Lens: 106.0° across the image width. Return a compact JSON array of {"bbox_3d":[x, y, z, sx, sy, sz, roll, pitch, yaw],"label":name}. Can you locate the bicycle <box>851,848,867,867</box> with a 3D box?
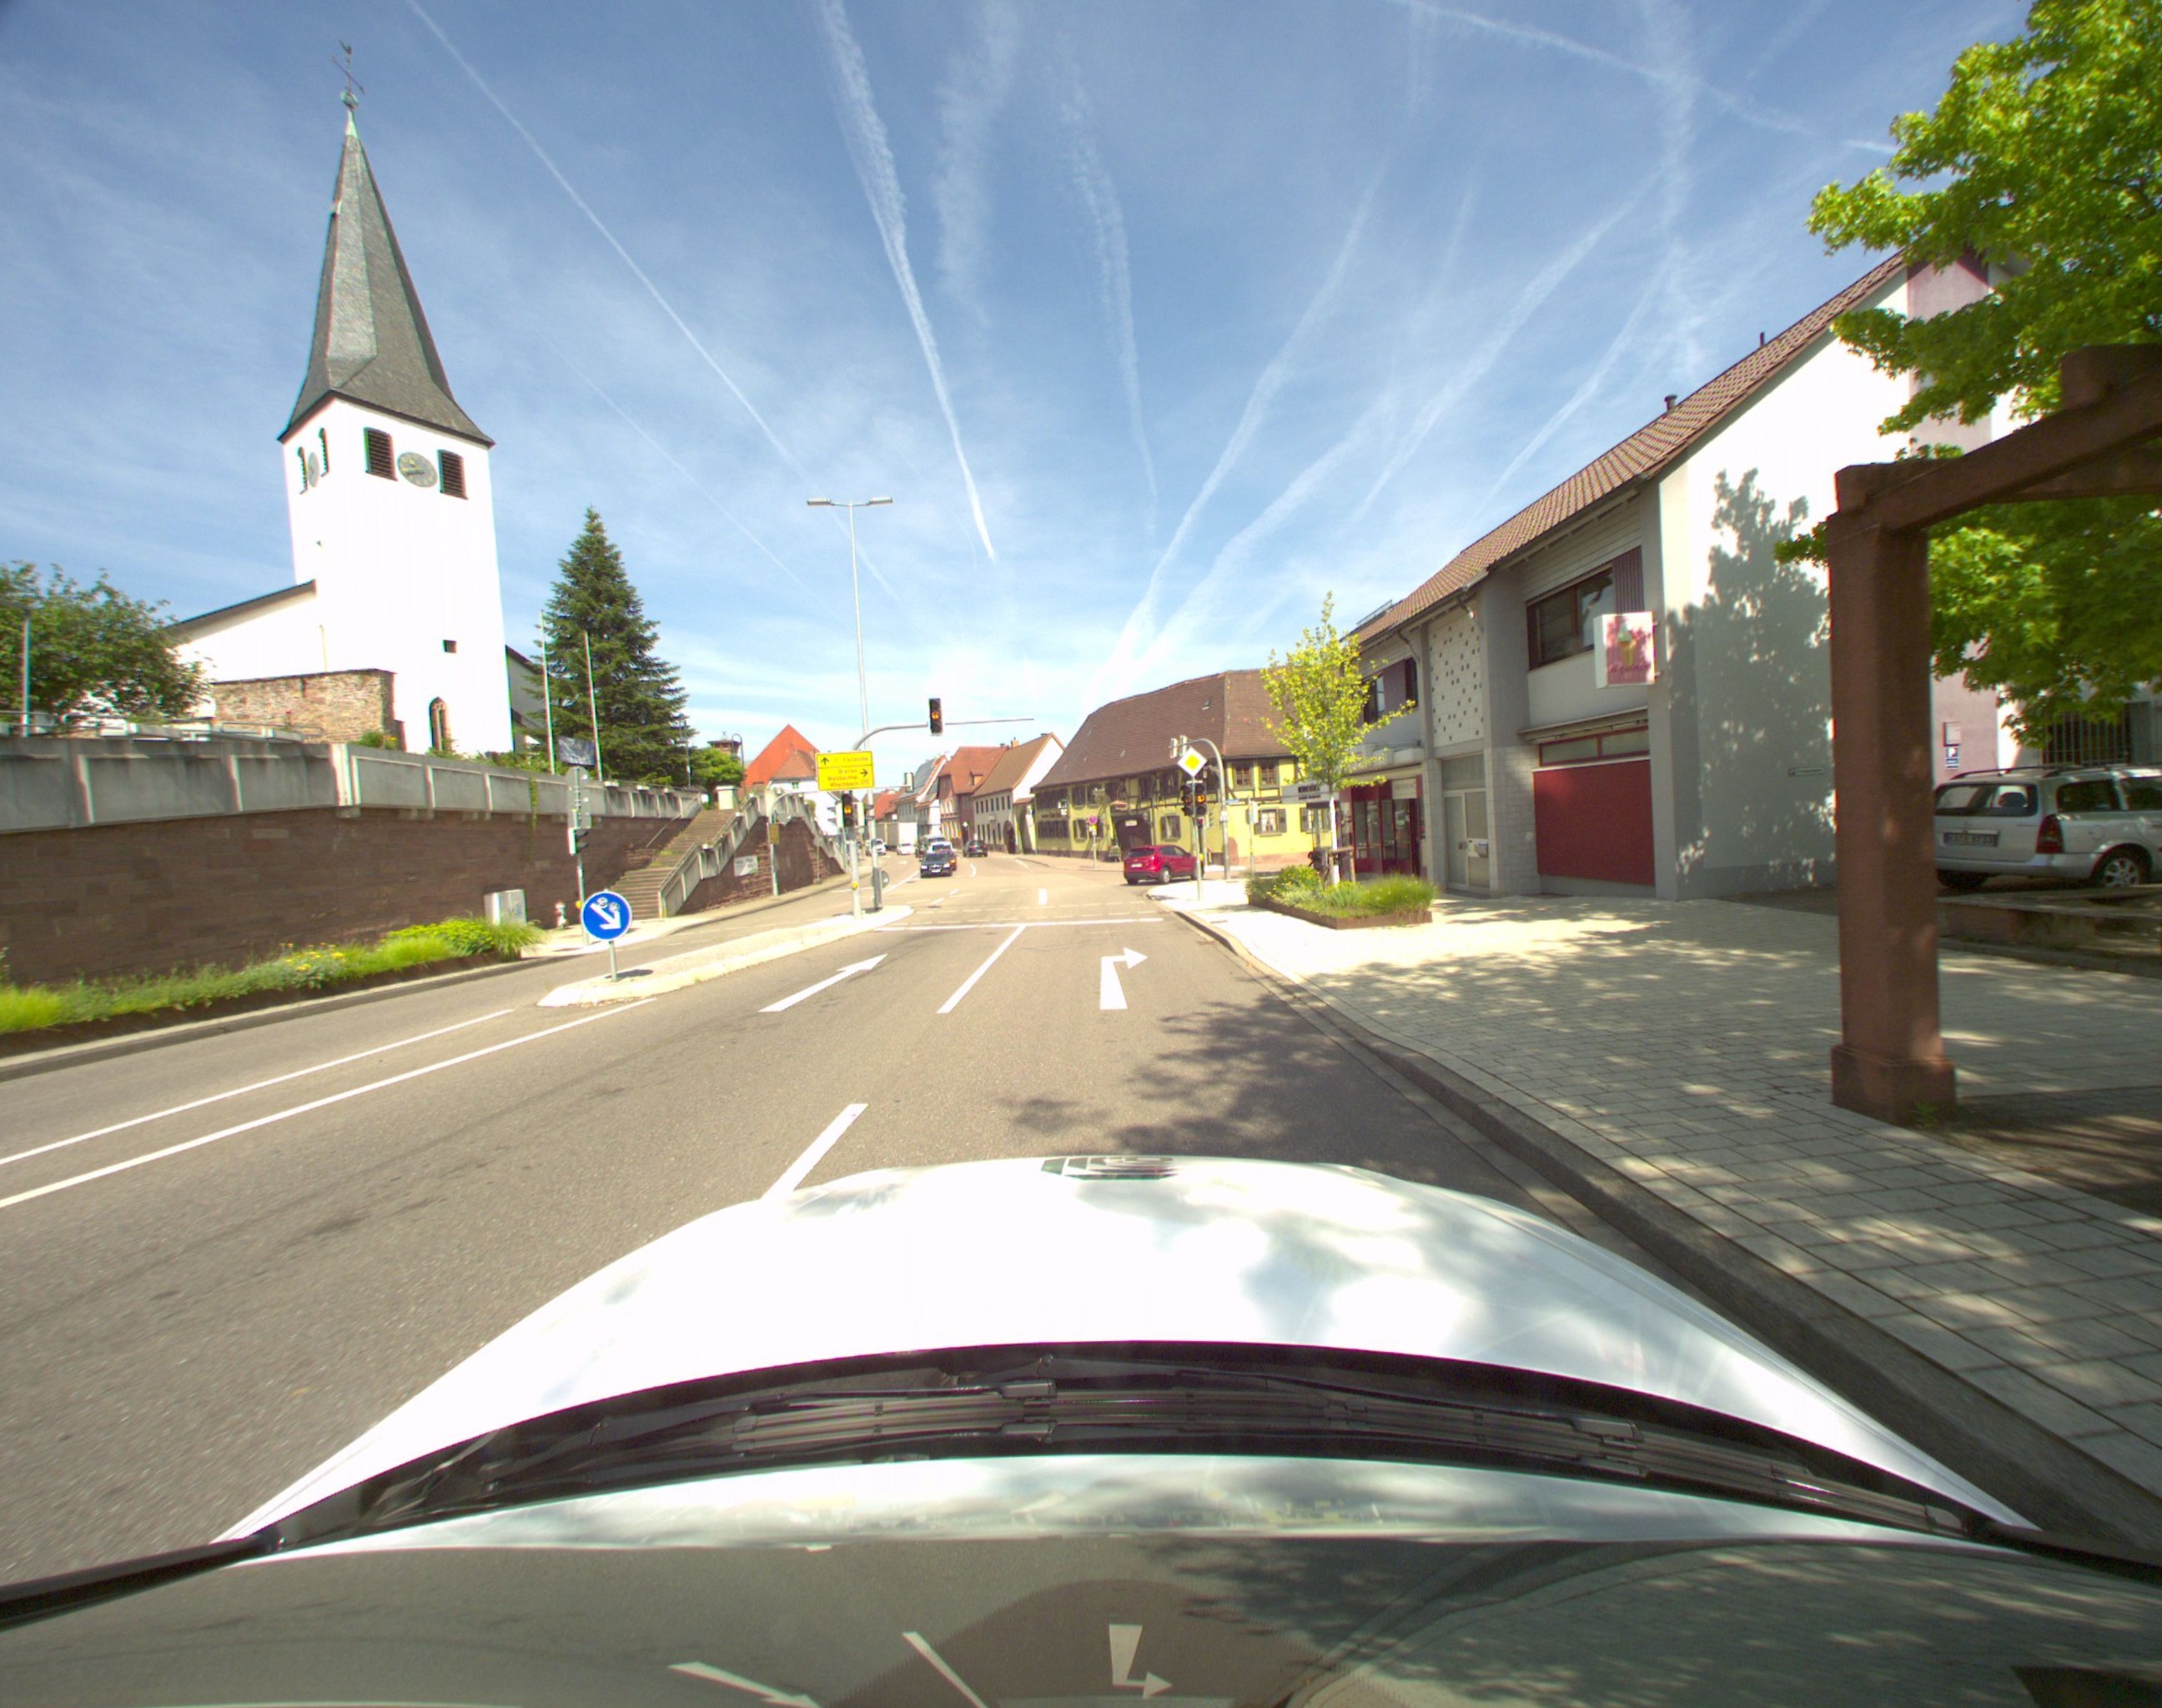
[{"bbox_3d":[-19.372,0.285,71.038,0.556,1.607,2.563,-1,1,1],"label":"bicycle"}]

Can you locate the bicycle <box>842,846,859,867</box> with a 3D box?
[{"bbox_3d":[-20.364,0.223,71.894,0.638,1.779,2.671,-1,1,1],"label":"bicycle"}]

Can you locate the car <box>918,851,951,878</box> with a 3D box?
[{"bbox_3d":[-9.088,0.611,50.739,1.820,1.434,4.236,-3,2,-8],"label":"car"}]

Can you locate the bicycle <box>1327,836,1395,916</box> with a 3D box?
[{"bbox_3d":[4.917,0.341,14.422,0.527,1.279,1.994,-6,1,4],"label":"bicycle"}]

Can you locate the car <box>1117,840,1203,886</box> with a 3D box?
[{"bbox_3d":[3.435,0.358,34.934,1.787,1.663,3.837,-3,1,37],"label":"car"}]

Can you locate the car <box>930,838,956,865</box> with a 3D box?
[{"bbox_3d":[-11.008,-0.249,64.838,1.821,1.906,4.946,-3,2,-11],"label":"car"}]

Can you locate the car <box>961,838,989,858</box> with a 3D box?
[{"bbox_3d":[-10.192,-0.623,78.106,1.826,1.738,3.980,-5,2,-18],"label":"car"}]

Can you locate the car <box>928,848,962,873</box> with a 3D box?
[{"bbox_3d":[-9.675,0.433,58.215,2.157,1.515,4.935,-3,2,-7],"label":"car"}]

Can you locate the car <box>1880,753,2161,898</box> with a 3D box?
[{"bbox_3d":[12.272,-0.377,9.738,3.685,1.509,1.725,-3,1,1],"label":"car"}]

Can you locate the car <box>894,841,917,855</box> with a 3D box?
[{"bbox_3d":[-20.955,-0.696,97.274,1.794,1.526,3.974,-5,2,-24],"label":"car"}]

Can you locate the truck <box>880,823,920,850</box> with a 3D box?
[{"bbox_3d":[-25.538,-2.436,114.443,3.241,3.549,9.150,-2,1,-27],"label":"truck"}]

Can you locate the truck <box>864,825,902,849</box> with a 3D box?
[{"bbox_3d":[-30.002,-2.542,123.243,3.177,3.460,10.618,-1,1,-27],"label":"truck"}]

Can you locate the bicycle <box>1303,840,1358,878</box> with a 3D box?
[{"bbox_3d":[9.074,0.184,29.634,1.797,1.234,0.549,-4,1,0],"label":"bicycle"}]

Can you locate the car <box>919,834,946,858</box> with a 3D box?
[{"bbox_3d":[-14.408,-0.803,78.854,1.764,2.245,4.521,-2,1,-21],"label":"car"}]

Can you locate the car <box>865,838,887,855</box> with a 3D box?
[{"bbox_3d":[-25.882,-0.961,102.621,2.143,1.966,5.245,-4,2,-18],"label":"car"}]
